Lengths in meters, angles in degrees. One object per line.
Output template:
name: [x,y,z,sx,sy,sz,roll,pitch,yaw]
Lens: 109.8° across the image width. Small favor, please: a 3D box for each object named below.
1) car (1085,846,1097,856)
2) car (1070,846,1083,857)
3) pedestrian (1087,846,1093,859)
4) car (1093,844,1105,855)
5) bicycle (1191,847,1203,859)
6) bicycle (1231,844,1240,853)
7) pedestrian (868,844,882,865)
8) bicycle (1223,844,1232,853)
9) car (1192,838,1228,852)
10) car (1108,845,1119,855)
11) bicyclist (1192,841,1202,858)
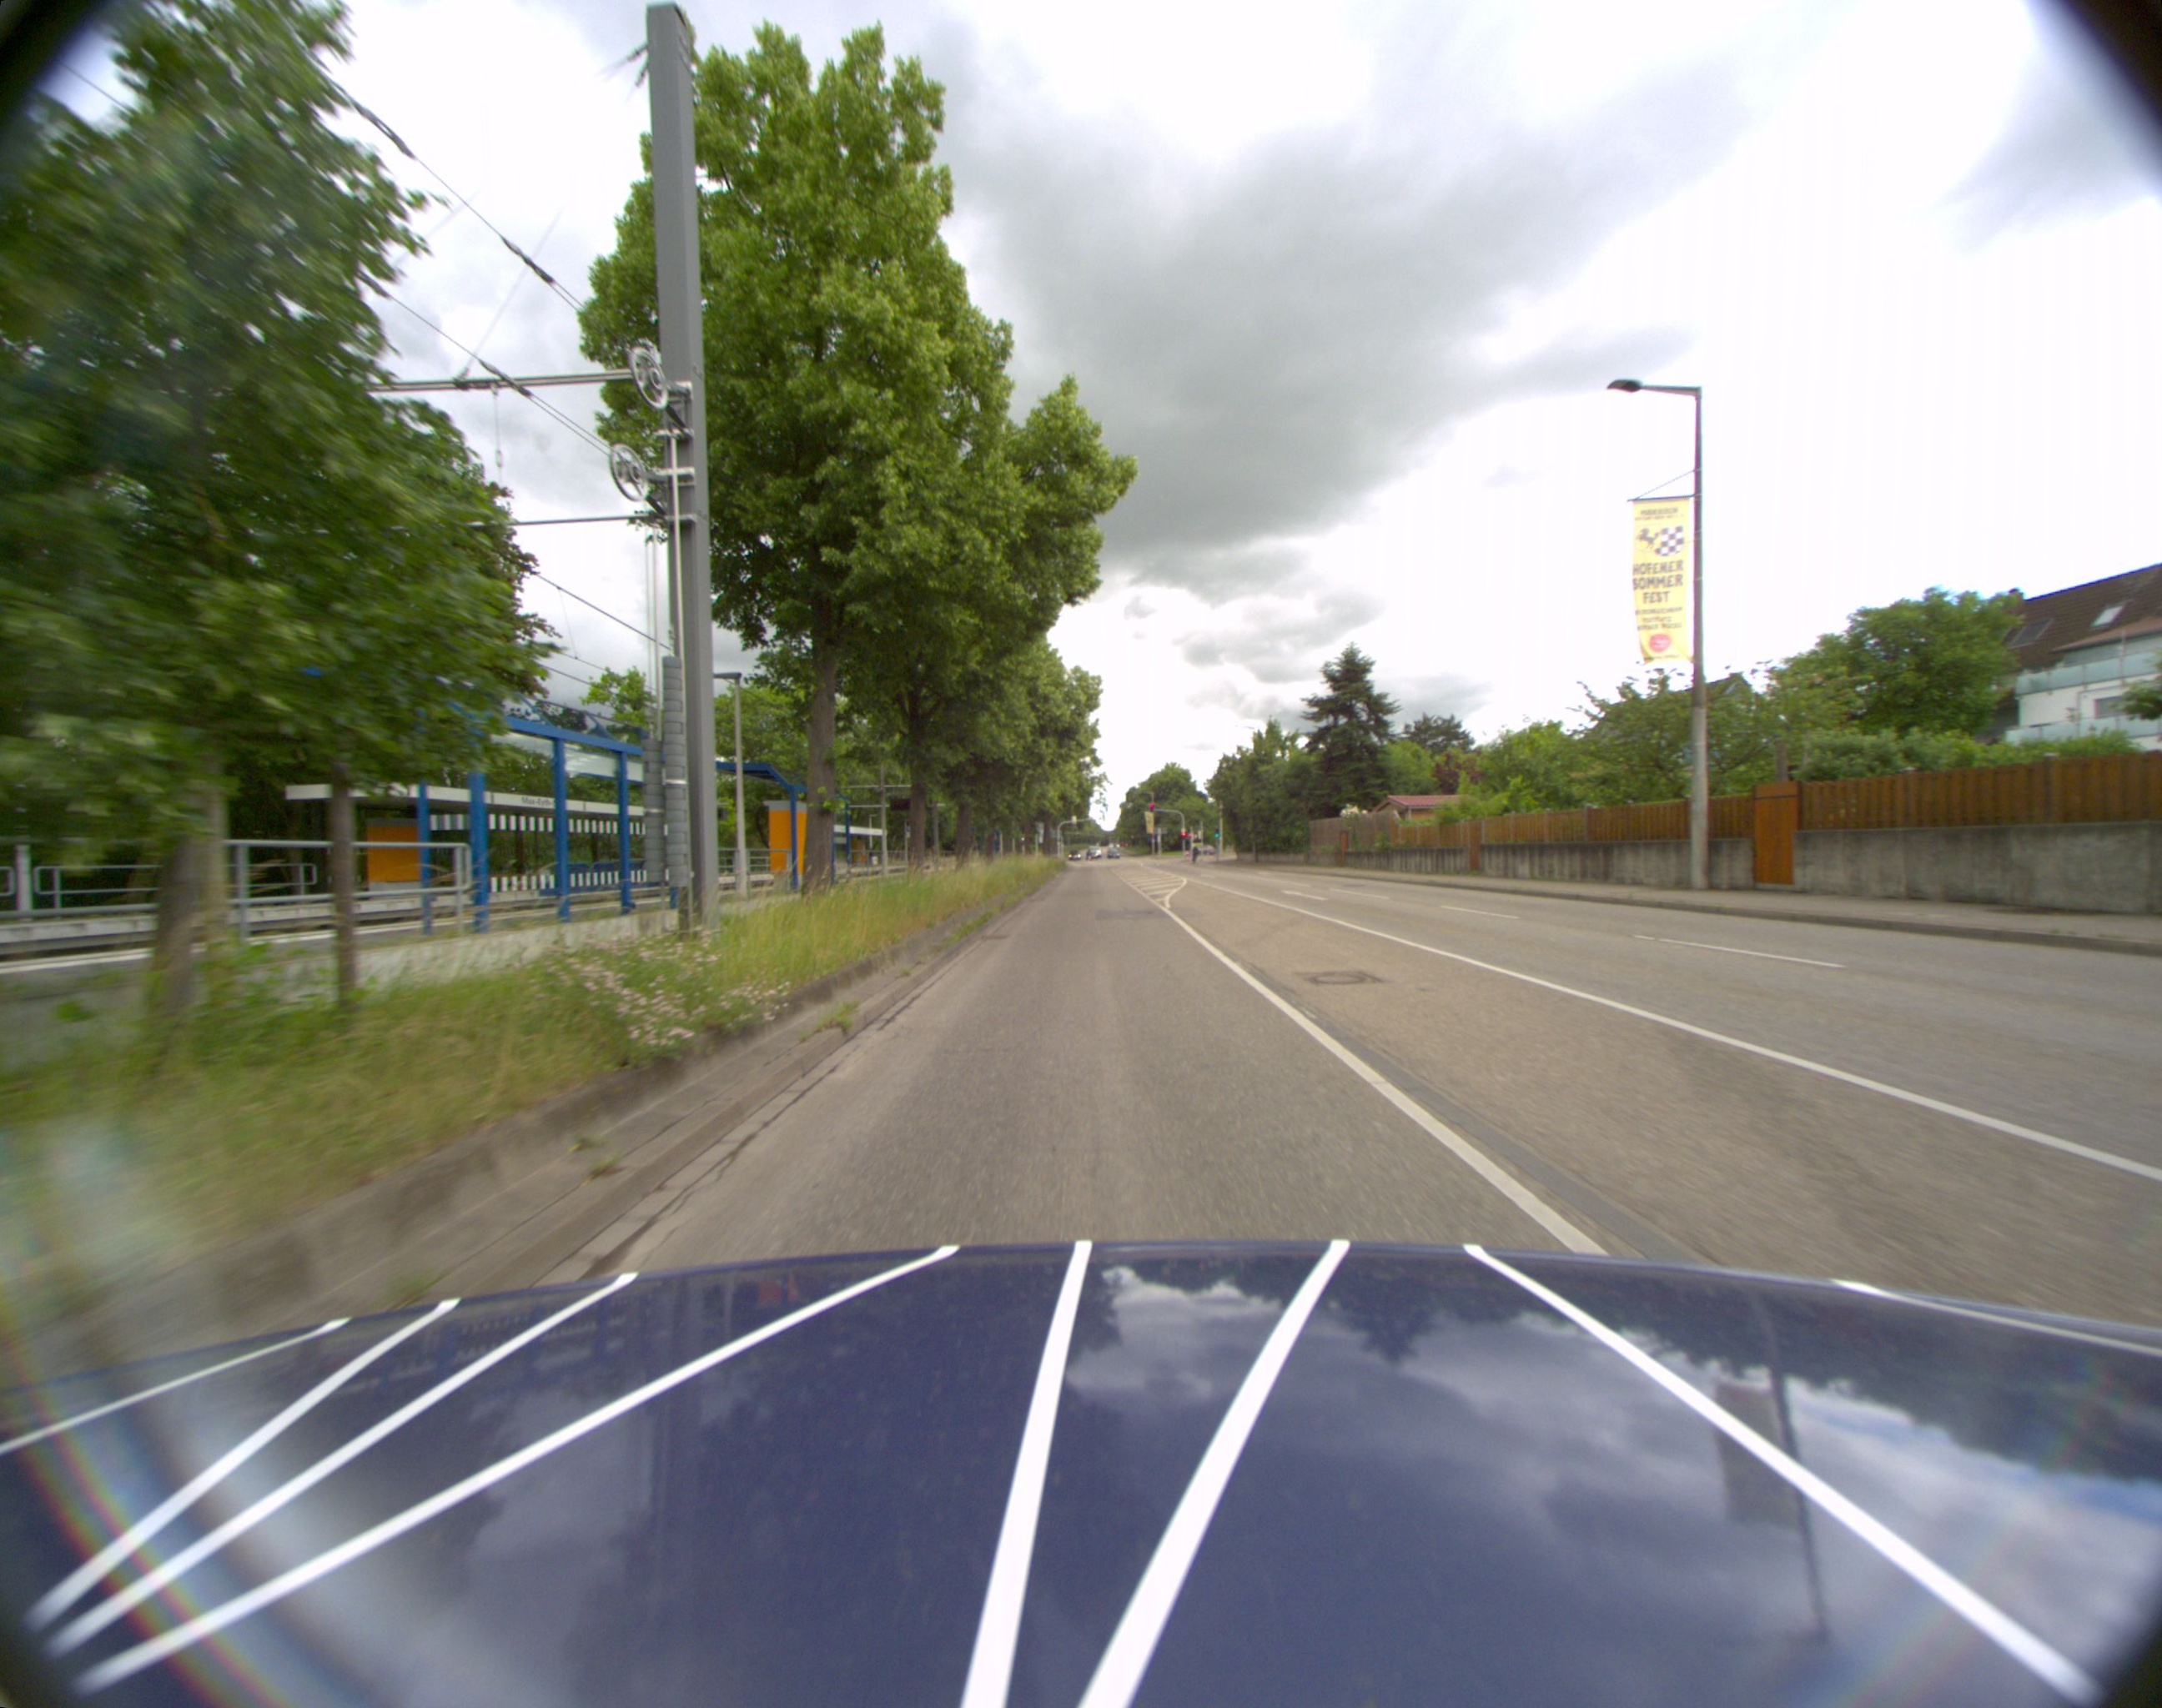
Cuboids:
car: [1.499,-0.451,115.933,1.708,1.472,3.667,-2,1,1]
car: [-0.658,-0.338,113.110,1.807,1.520,3.928,-3,1,2]
pedestrian: [1.203,-0.239,106.594,0.753,1.727,0.840,1,2,5]
car: [3.000,-0.759,126.967,1.912,1.832,5.281,-2,1,1]
bicycle: [11.280,-0.119,73.829,0.644,1.138,2.147,-3,0,-4]
bicycle: [23.915,-0.897,117.501,0.544,1.245,1.938,-2,2,34]
pedestrian: [-15.063,0.045,55.623,0.720,1.503,0.724,-3,2,3]
bicycle: [22.738,-0.835,117.814,0.544,1.245,1.938,-2,2,34]
car: [18.999,-1.327,111.810,4.734,1.842,2.003,-3,2,34]
car: [4.950,-0.564,115.946,1.560,1.458,3.807,0,1,1]
bicyclist: [11.266,-0.429,73.749,0.644,1.526,0.978,-3,1,-4]
